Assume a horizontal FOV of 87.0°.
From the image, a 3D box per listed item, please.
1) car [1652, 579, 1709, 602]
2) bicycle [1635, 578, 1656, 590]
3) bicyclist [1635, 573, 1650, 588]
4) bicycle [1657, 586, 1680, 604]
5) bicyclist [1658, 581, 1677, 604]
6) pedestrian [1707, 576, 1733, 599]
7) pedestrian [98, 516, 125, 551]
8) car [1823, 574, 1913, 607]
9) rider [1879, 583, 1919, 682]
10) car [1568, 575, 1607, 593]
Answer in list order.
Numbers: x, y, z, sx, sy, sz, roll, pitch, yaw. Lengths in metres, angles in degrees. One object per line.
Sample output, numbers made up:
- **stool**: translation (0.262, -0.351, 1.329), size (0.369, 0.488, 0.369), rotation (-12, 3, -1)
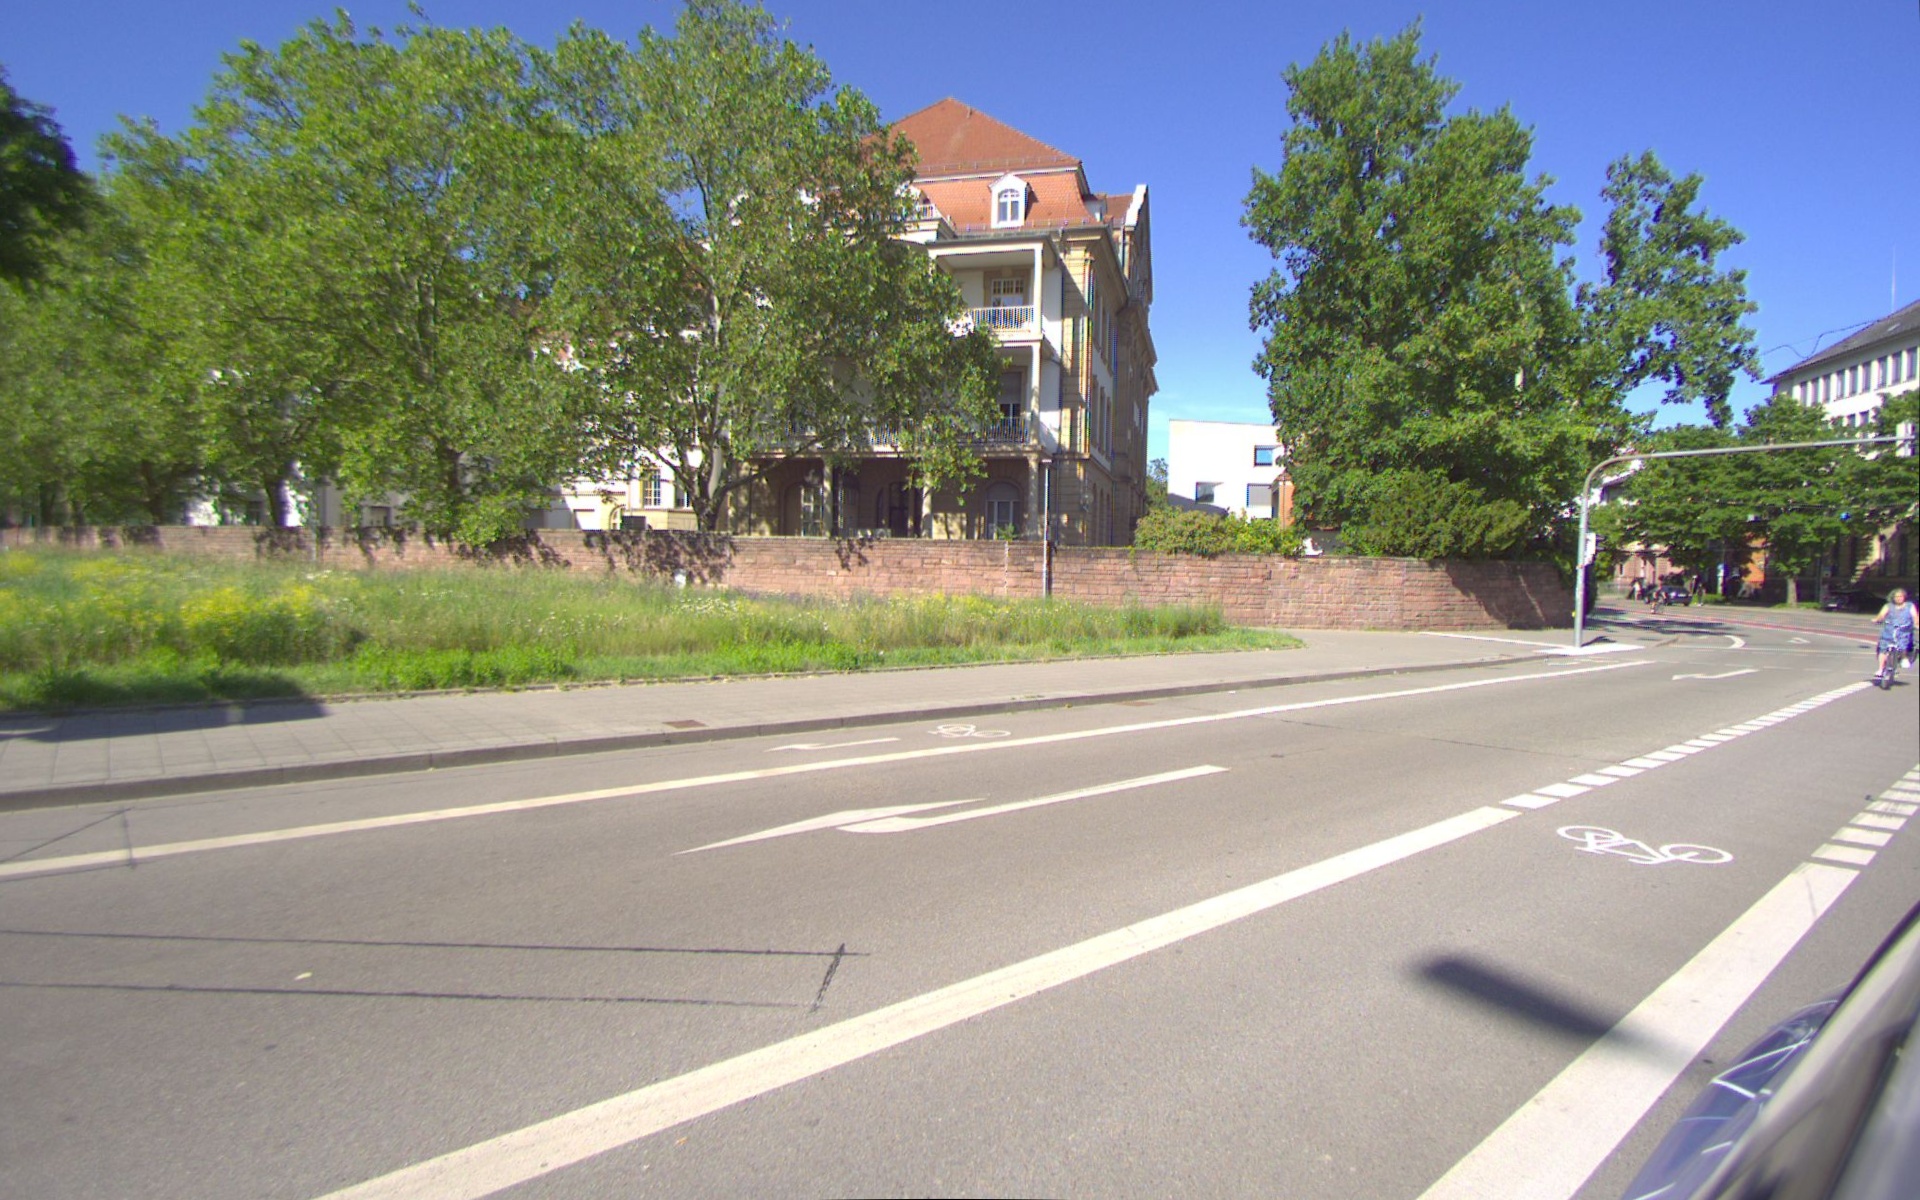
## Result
- **car**: translation (54.750, -0.766, 77.018), size (1.767, 1.517, 4.560), rotation (3, 3, 12)
- **bicycle**: translation (61.972, -1.434, 91.528), size (0.720, 1.003, 1.834), rotation (1, 2, 3)
- **bicyclist**: translation (61.871, -1.762, 91.697), size (0.720, 1.402, 0.895), rotation (1, 1, 3)
- **bicycle**: translation (40.592, -0.281, 57.979), size (1.723, 1.018, 0.711), rotation (0, 1, -41)
- **bicyclist**: translation (40.485, -0.436, 57.872), size (0.764, 1.333, 0.711), rotation (0, 1, -40)
- **pedestrian**: translation (61.966, -1.013, 82.542), size (1.366, 1.844, 0.937), rotation (1, 1, 4)
- **pedestrian**: translation (-36.872, -2.882, 43.977), size (0.516, 1.461, 0.721), rotation (0, 0, 20)
- **car**: translation (61.211, -0.646, 68.261), size (4.615, 2.038, 2.004), rotation (1, 2, -9)
- **rider**: translation (16.166, 0.534, 17.212), size (0.971, 1.640, 0.658), rotation (0, 1, -41)
- **car**: translation (60.000, -1.532, 96.826), size (1.834, 1.561, 4.225), rotation (3, 3, 13)
